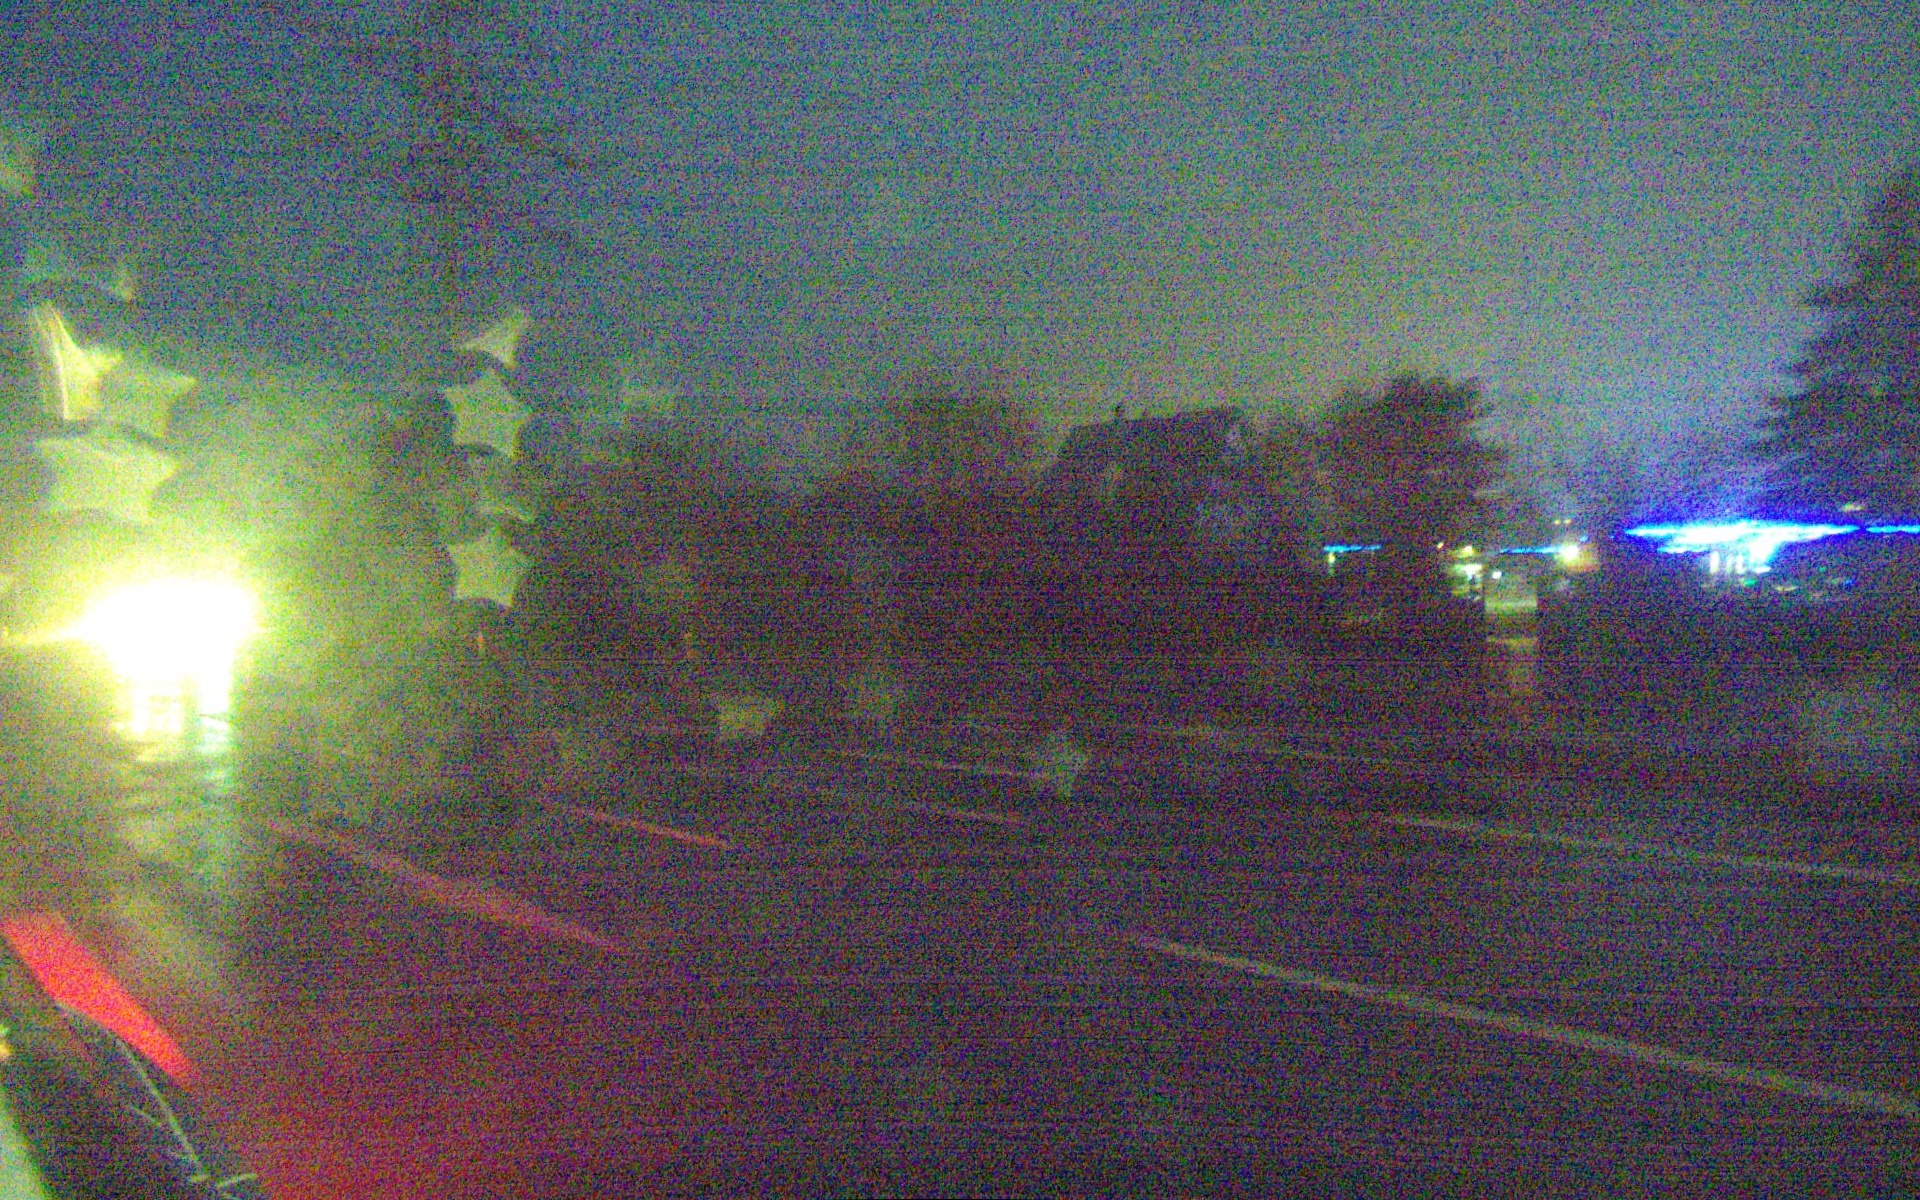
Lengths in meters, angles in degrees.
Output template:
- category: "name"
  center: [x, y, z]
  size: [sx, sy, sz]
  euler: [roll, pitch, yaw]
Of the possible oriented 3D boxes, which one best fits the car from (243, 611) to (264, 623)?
- category: "car"
  center: [-103.116, 2.481, 147.675]
  size: [1.833, 1.760, 4.979]
  euler: [0, 0, -27]
